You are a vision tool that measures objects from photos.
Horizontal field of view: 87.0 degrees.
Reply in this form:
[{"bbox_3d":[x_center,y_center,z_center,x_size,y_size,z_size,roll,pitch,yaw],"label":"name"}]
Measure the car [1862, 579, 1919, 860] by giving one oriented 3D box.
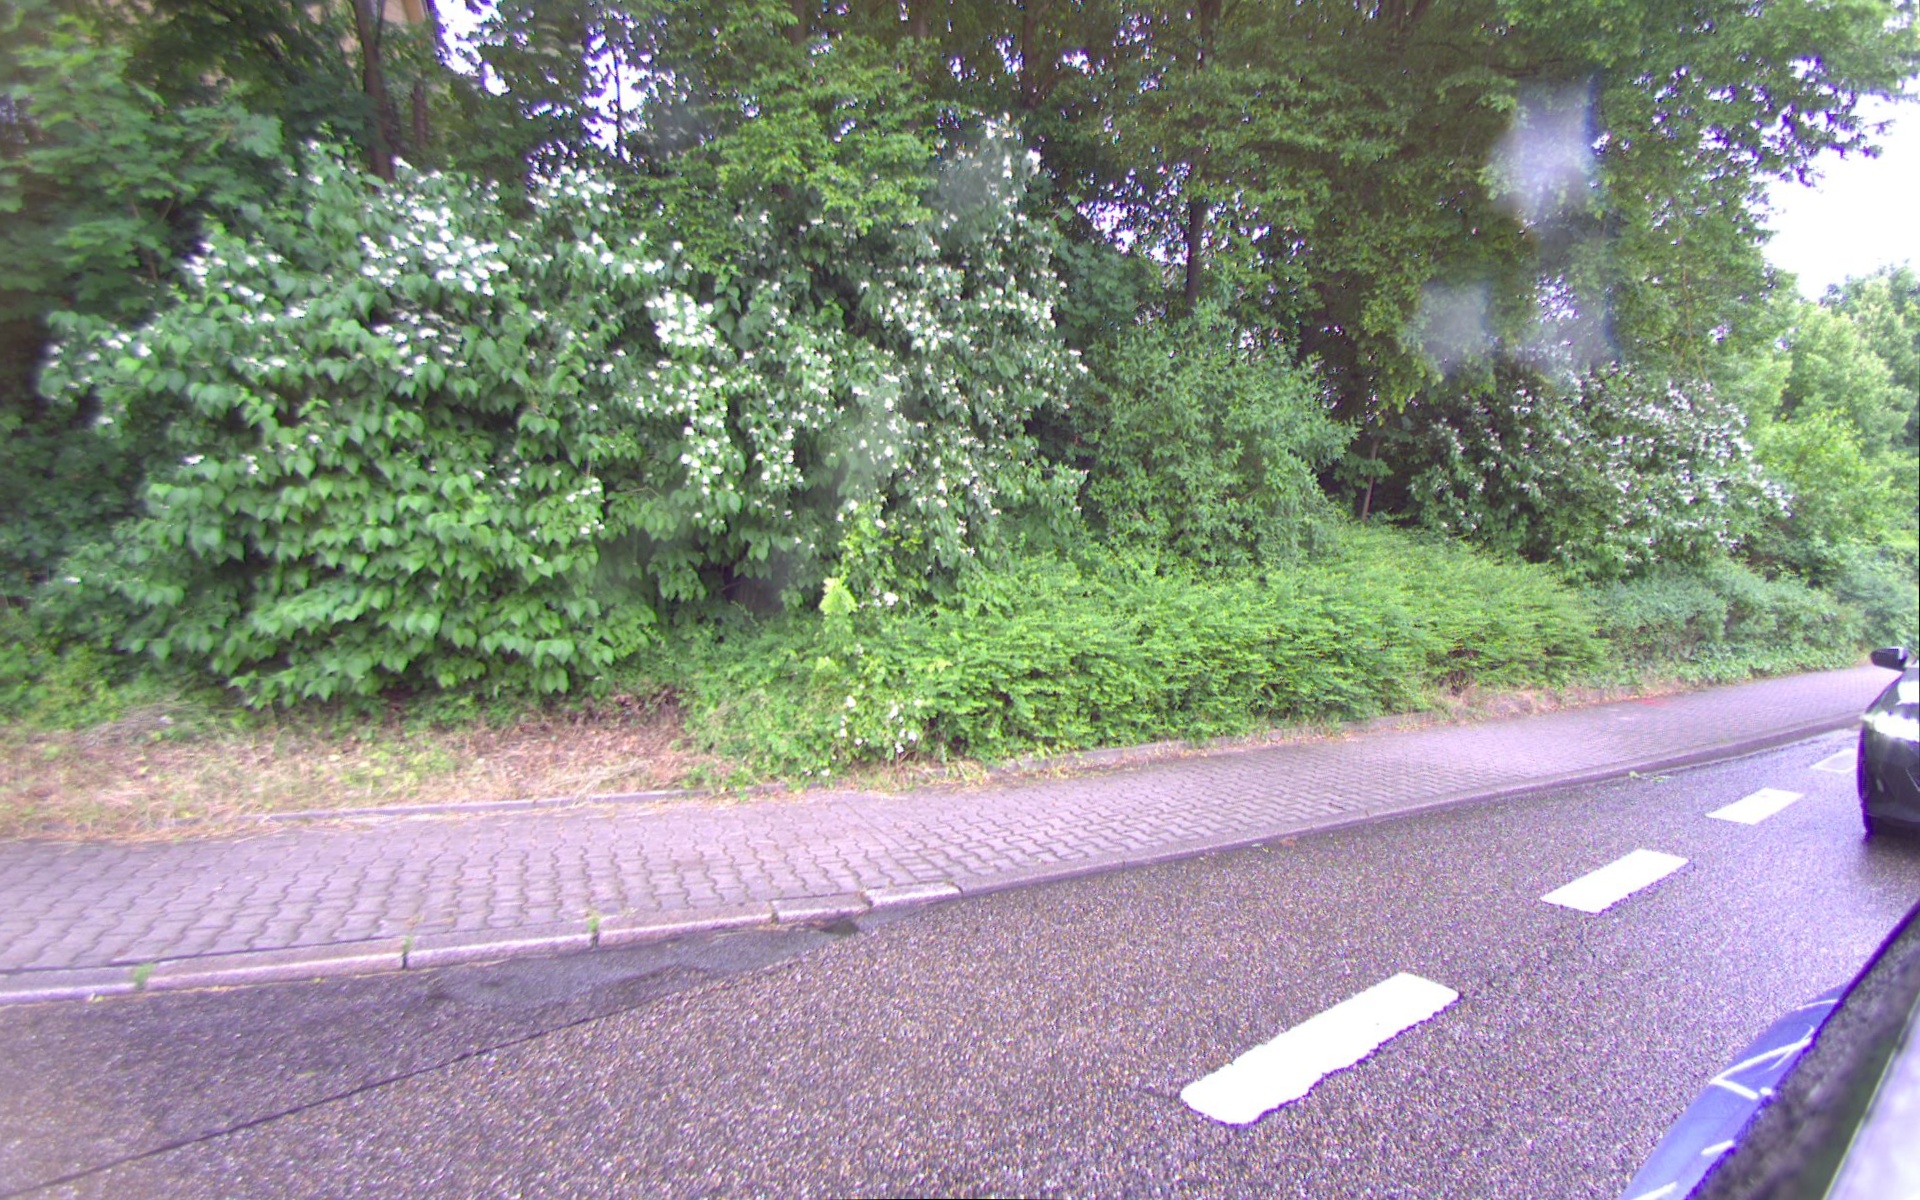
[{"bbox_3d":[7.284,0.674,6.285,4.123,1.524,1.872,-1,4,-40],"label":"car"}]
